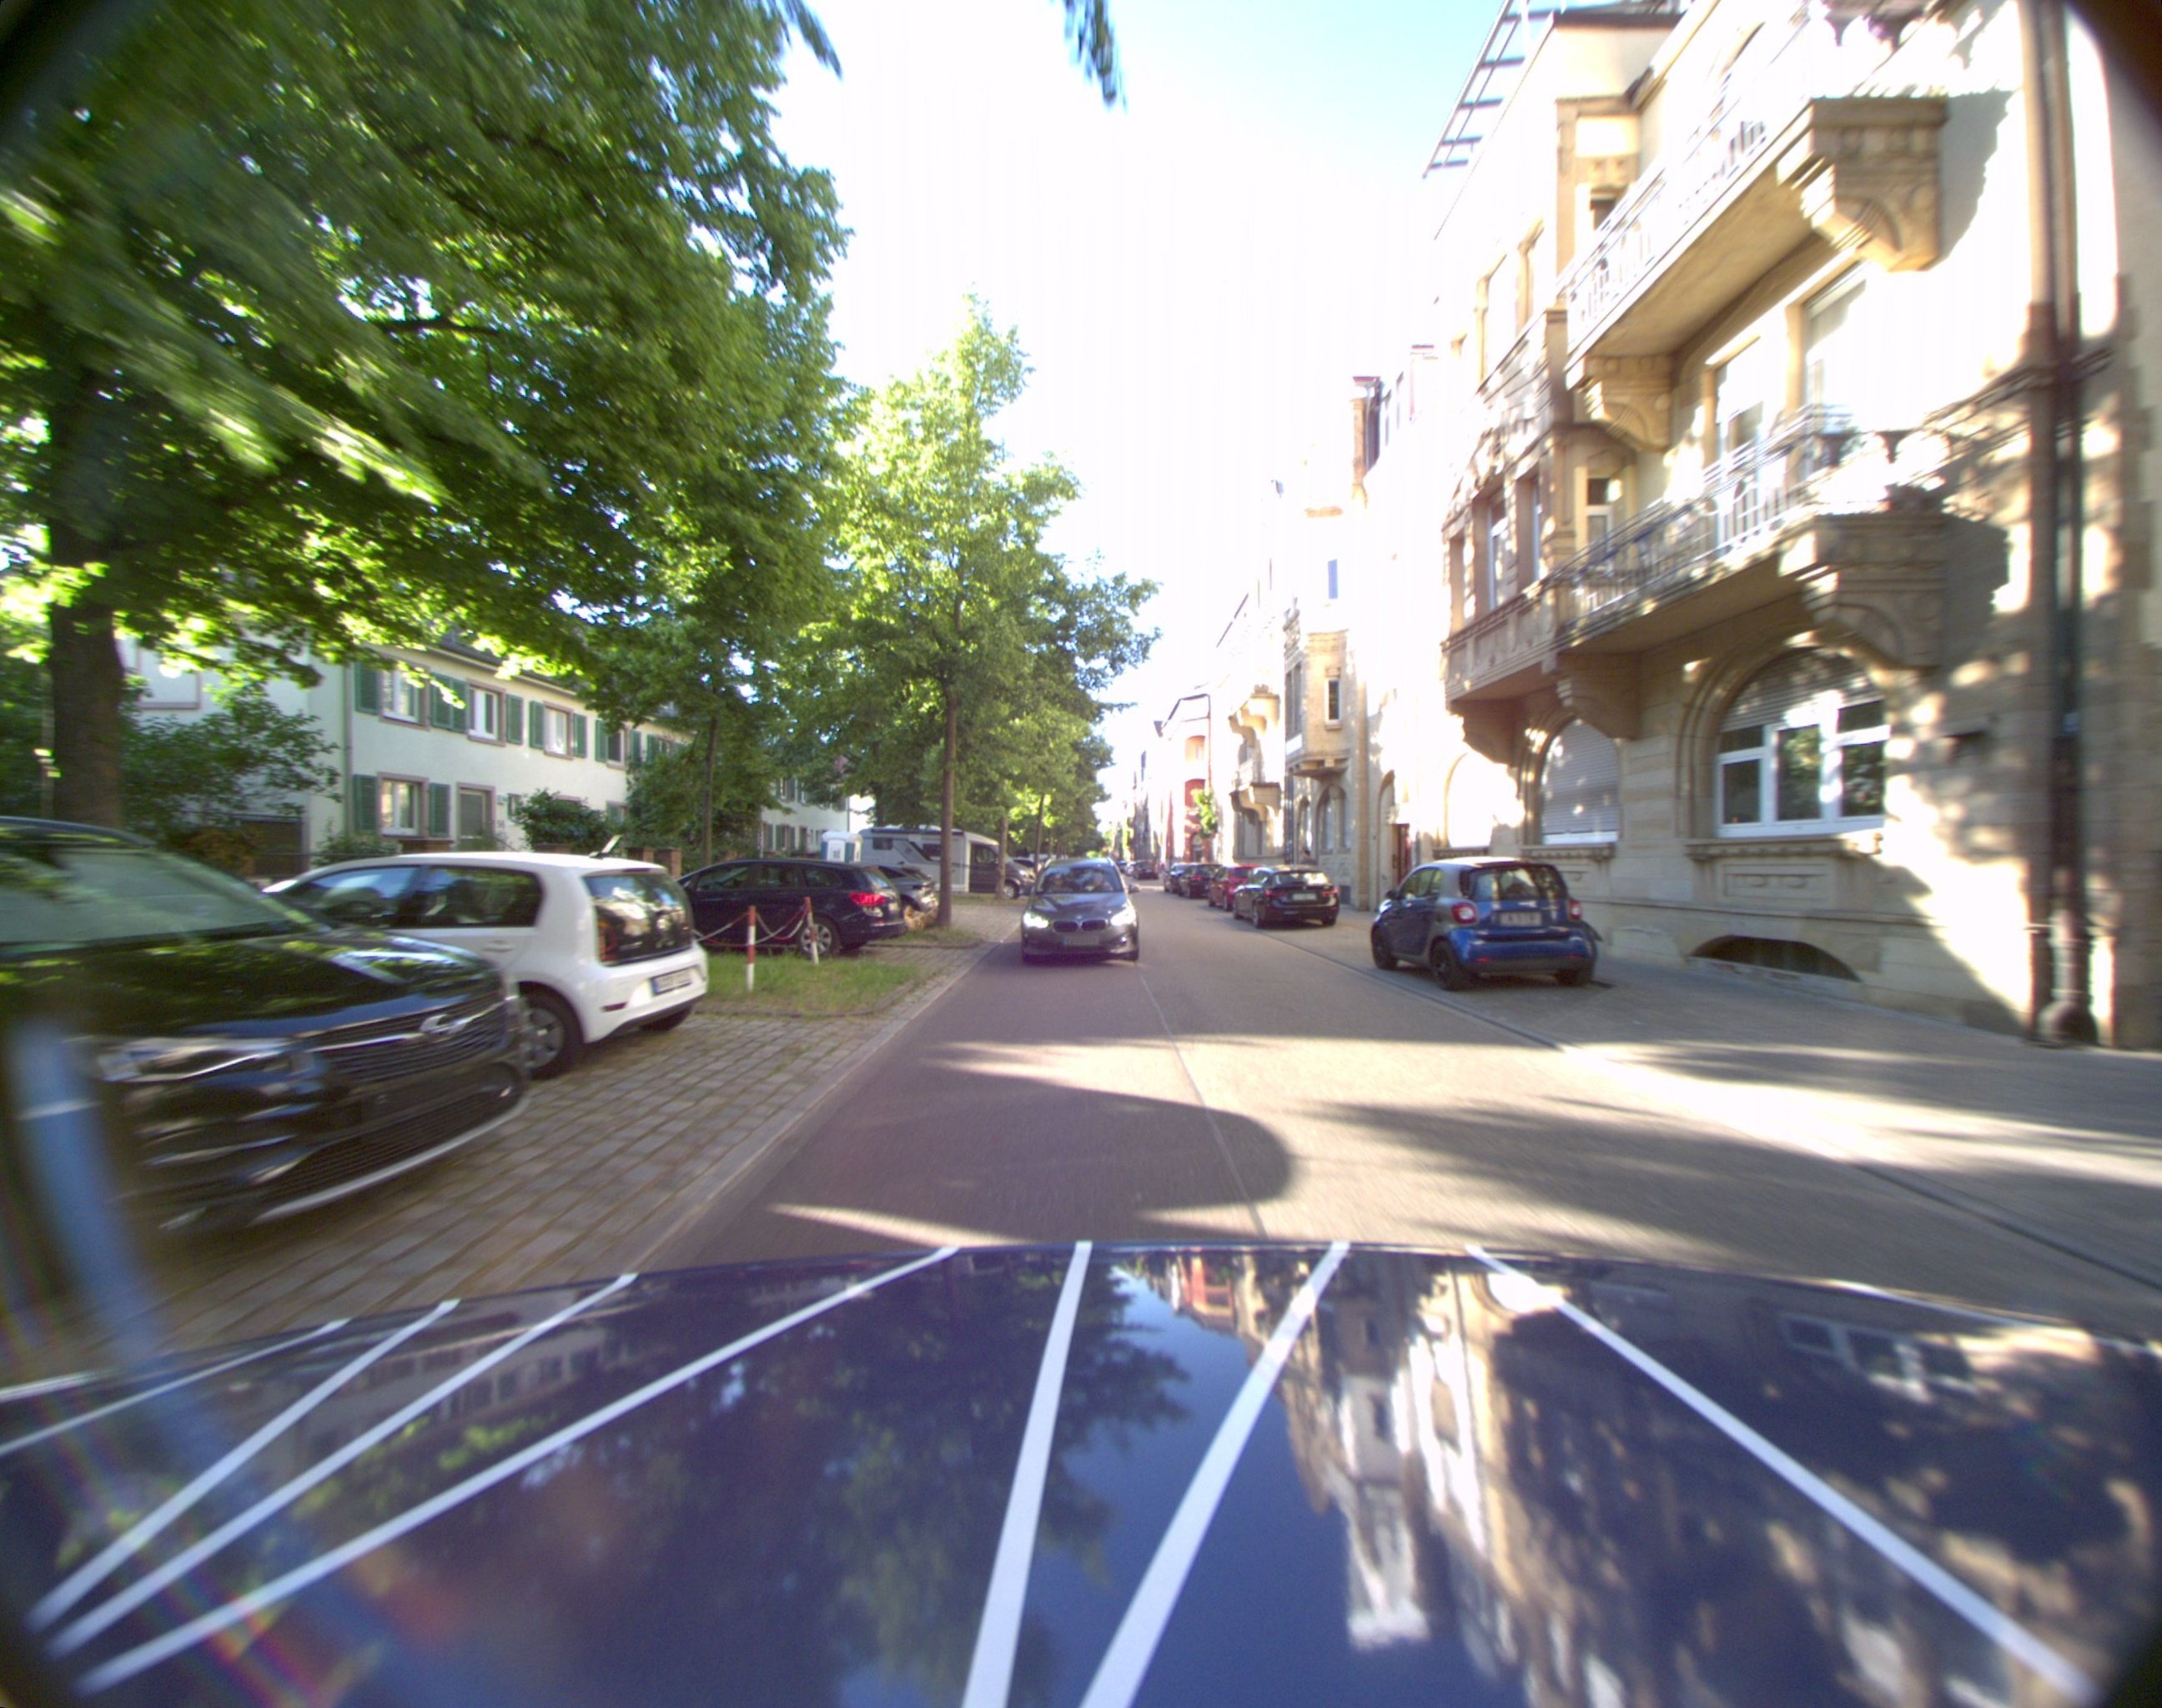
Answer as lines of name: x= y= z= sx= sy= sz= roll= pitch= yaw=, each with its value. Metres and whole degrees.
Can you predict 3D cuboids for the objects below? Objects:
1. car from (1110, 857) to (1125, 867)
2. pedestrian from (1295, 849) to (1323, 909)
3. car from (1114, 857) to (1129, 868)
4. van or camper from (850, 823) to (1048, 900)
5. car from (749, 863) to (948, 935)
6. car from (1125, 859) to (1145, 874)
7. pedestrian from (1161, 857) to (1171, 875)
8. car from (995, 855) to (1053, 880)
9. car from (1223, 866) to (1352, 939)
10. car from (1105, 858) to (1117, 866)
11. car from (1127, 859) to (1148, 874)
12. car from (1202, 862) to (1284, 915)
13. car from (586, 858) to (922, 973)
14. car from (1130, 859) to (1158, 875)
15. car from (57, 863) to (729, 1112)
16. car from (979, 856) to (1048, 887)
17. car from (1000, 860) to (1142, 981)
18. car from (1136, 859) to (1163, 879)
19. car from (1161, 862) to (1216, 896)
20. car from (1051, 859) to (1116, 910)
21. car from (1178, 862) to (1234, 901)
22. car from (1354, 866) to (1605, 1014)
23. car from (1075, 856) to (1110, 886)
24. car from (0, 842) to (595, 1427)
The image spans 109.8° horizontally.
car: x=5.347 y=1.160 z=112.328 sx=1.987 sy=1.549 sz=3.833 roll=0 pitch=0 yaw=0
pedestrian: x=7.073 y=0.764 z=23.576 sx=0.695 sy=1.837 sz=0.497 roll=-2 pitch=0 yaw=2
car: x=5.331 y=1.098 z=100.322 sx=1.702 sy=1.372 sz=4.000 roll=0 pitch=0 yaw=1
van or camper: x=-4.995 y=0.262 z=29.656 sx=7.266 sy=2.887 sz=2.427 roll=0 pitch=1 yaw=1
car: x=-5.208 y=0.987 z=17.502 sx=3.998 sy=1.510 sz=1.999 roll=0 pitch=1 yaw=-2
car: x=5.940 y=1.373 z=84.129 sx=1.998 sy=1.514 sz=4.000 roll=-2 pitch=0 yaw=1
pedestrian: x=7.785 y=1.095 z=69.351 sx=0.779 sy=1.692 sz=1.010 roll=0 pitch=0 yaw=1
car: x=-4.285 y=0.998 z=57.130 sx=3.994 sy=1.871 sz=2.002 roll=0 pitch=0 yaw=10
car: x=4.920 y=1.095 z=18.814 sx=1.905 sy=1.430 sz=4.542 roll=-4 pitch=0 yaw=0
car: x=6.521 y=1.718 z=164.767 sx=2.000 sy=1.529 sz=3.997 roll=-2 pitch=0 yaw=-7
car: x=5.882 y=1.336 z=79.913 sx=1.922 sy=1.510 sz=4.000 roll=0 pitch=0 yaw=0
car: x=5.156 y=1.050 z=24.631 sx=1.694 sy=1.457 sz=3.773 roll=-4 pitch=0 yaw=-1
car: x=-4.951 y=0.891 z=11.913 sx=4.468 sy=1.469 sz=1.753 roll=2 pitch=0 yaw=2
car: x=5.892 y=1.203 z=71.303 sx=1.999 sy=1.510 sz=3.998 roll=0 pitch=0 yaw=-4
car: x=-4.764 y=0.855 z=5.665 sx=3.456 sy=1.467 sz=1.693 roll=1 pitch=0 yaw=1
car: x=-4.052 y=1.041 z=46.243 sx=3.997 sy=1.804 sz=2.000 roll=0 pitch=0 yaw=1
car: x=-0.088 y=0.953 z=12.906 sx=1.924 sy=1.597 sz=4.517 roll=-2 pitch=0 yaw=1
car: x=5.728 y=1.242 z=63.866 sx=1.862 sy=1.594 sz=4.000 roll=-2 pitch=0 yaw=0
car: x=5.212 y=1.173 z=37.386 sx=1.893 sy=1.448 sz=4.511 roll=-4 pitch=0 yaw=-1
car: x=0.133 y=0.984 z=26.195 sx=1.998 sy=1.510 sz=4.652 roll=-2 pitch=0 yaw=1
car: x=5.132 y=1.094 z=31.725 sx=1.747 sy=1.457 sz=3.998 roll=-2 pitch=0 yaw=2
car: x=4.880 y=0.965 z=9.756 sx=1.688 sy=1.500 sz=2.861 roll=-3 pitch=0 yaw=1
car: x=0.679 y=1.017 z=46.338 sx=1.998 sy=1.739 sz=4.000 roll=0 pitch=0 yaw=0
car: x=-4.795 y=0.769 z=3.102 sx=4.344 sy=1.599 sz=1.928 roll=2 pitch=1 yaw=-1
